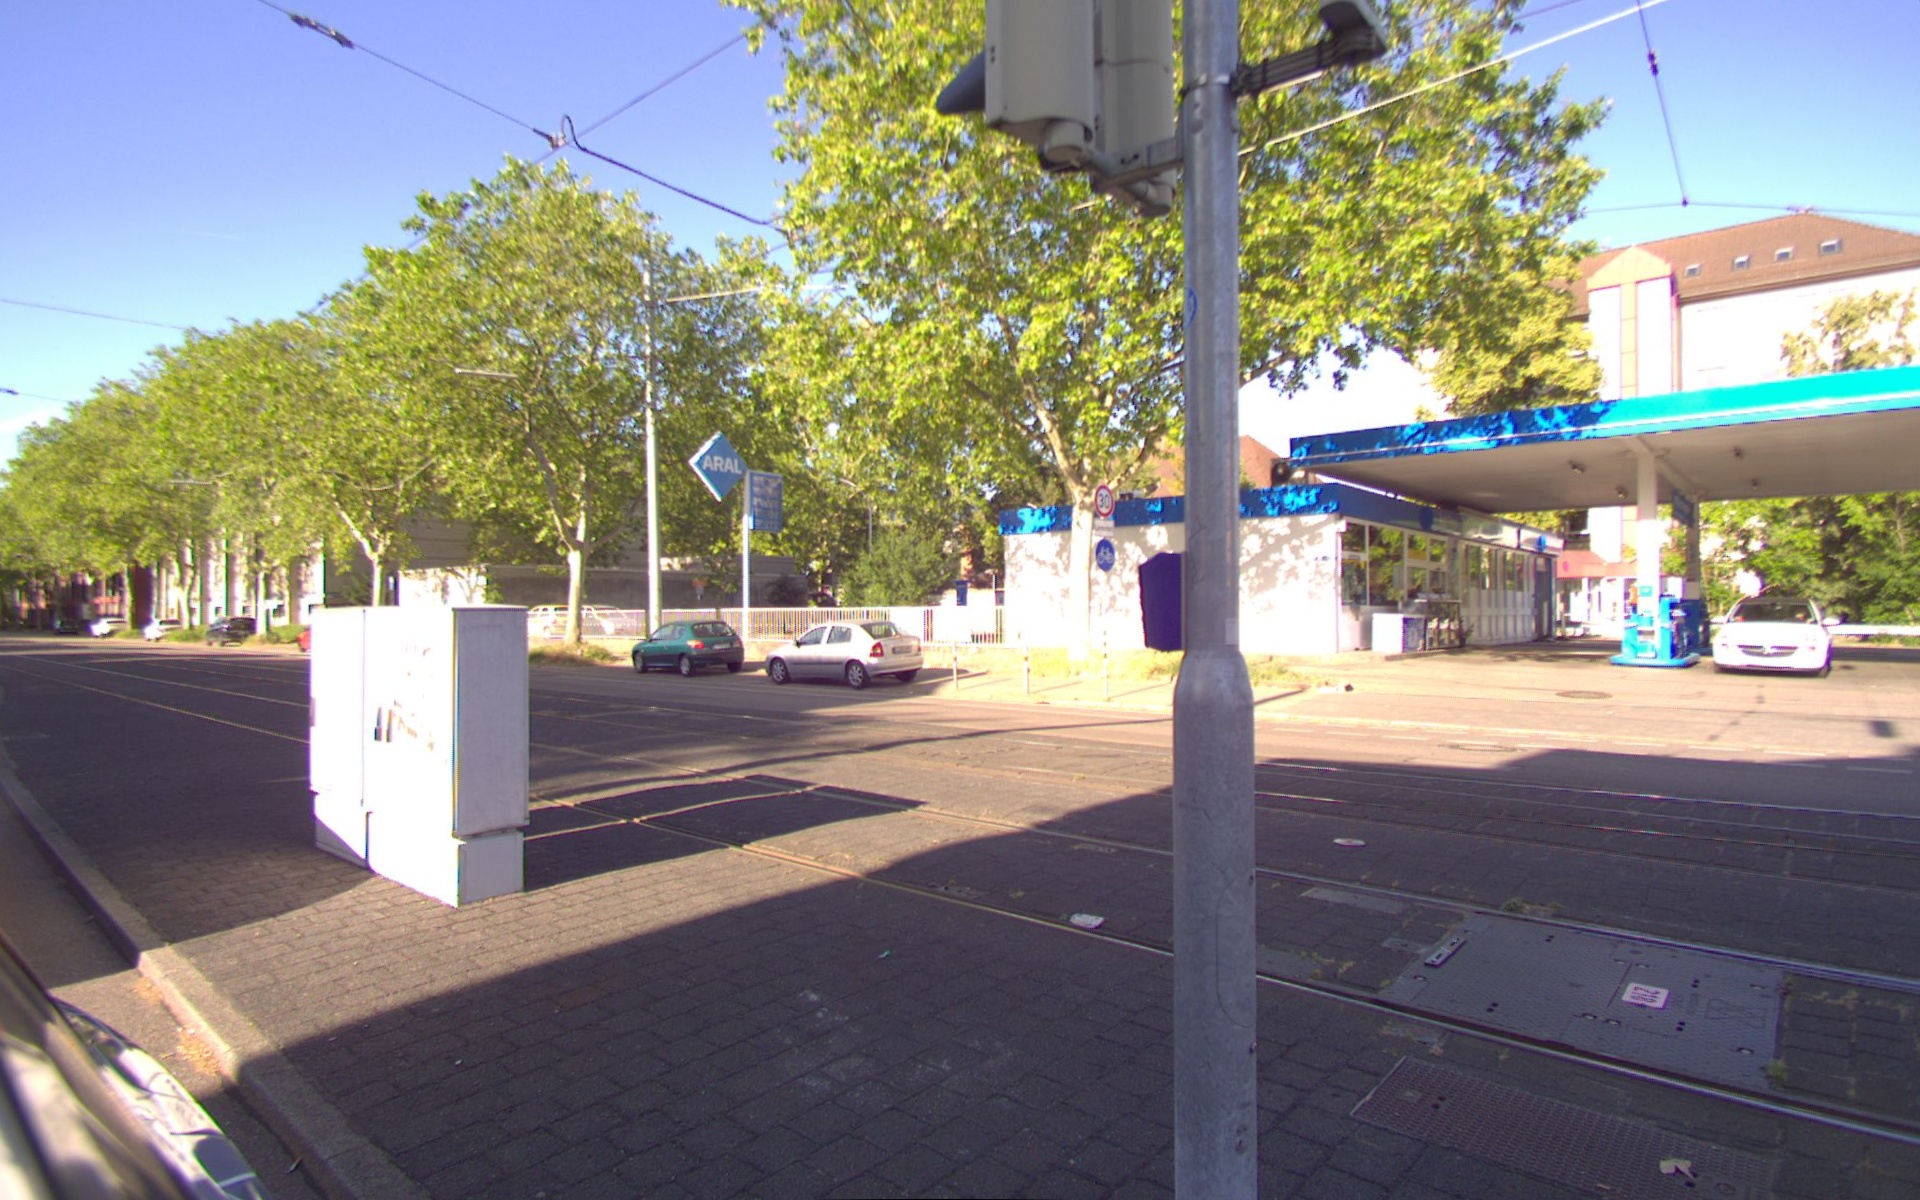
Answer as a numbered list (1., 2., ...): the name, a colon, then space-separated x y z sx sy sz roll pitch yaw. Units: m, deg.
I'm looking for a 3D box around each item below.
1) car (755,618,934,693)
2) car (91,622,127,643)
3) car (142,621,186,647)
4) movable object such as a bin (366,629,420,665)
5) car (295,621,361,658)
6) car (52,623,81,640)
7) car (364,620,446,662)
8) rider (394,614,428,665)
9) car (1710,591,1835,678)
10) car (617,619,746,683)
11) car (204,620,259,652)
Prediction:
1. car: -2.632 1.185 22.600 3.987 1.376 1.666 -2 3 41
2. car: -66.789 2.498 79.415 3.731 1.471 1.639 -1 2 43
3. car: -53.702 2.283 68.248 3.878 1.552 1.731 -1 2 43
4. movable object such as a bin: -19.449 1.590 34.684 1.836 1.111 1.161 -1 0 45
5. car: -28.704 1.771 45.928 3.377 1.506 1.639 -1 2 43
6. car: -85.037 3.009 96.336 3.731 1.471 1.639 -1 2 43
7. car: -21.951 1.566 40.007 3.769 1.455 1.701 -1 2 43
8. rider: -18.317 1.291 33.764 1.107 1.660 0.715 -1 0 45
9. car: 15.883 0.599 19.711 1.743 1.446 3.882 -1 1 41
10. car: -7.454 1.297 26.950 3.606 1.455 1.598 -1 2 43
11. car: -40.707 1.981 56.528 3.878 1.603 1.731 -1 2 43
